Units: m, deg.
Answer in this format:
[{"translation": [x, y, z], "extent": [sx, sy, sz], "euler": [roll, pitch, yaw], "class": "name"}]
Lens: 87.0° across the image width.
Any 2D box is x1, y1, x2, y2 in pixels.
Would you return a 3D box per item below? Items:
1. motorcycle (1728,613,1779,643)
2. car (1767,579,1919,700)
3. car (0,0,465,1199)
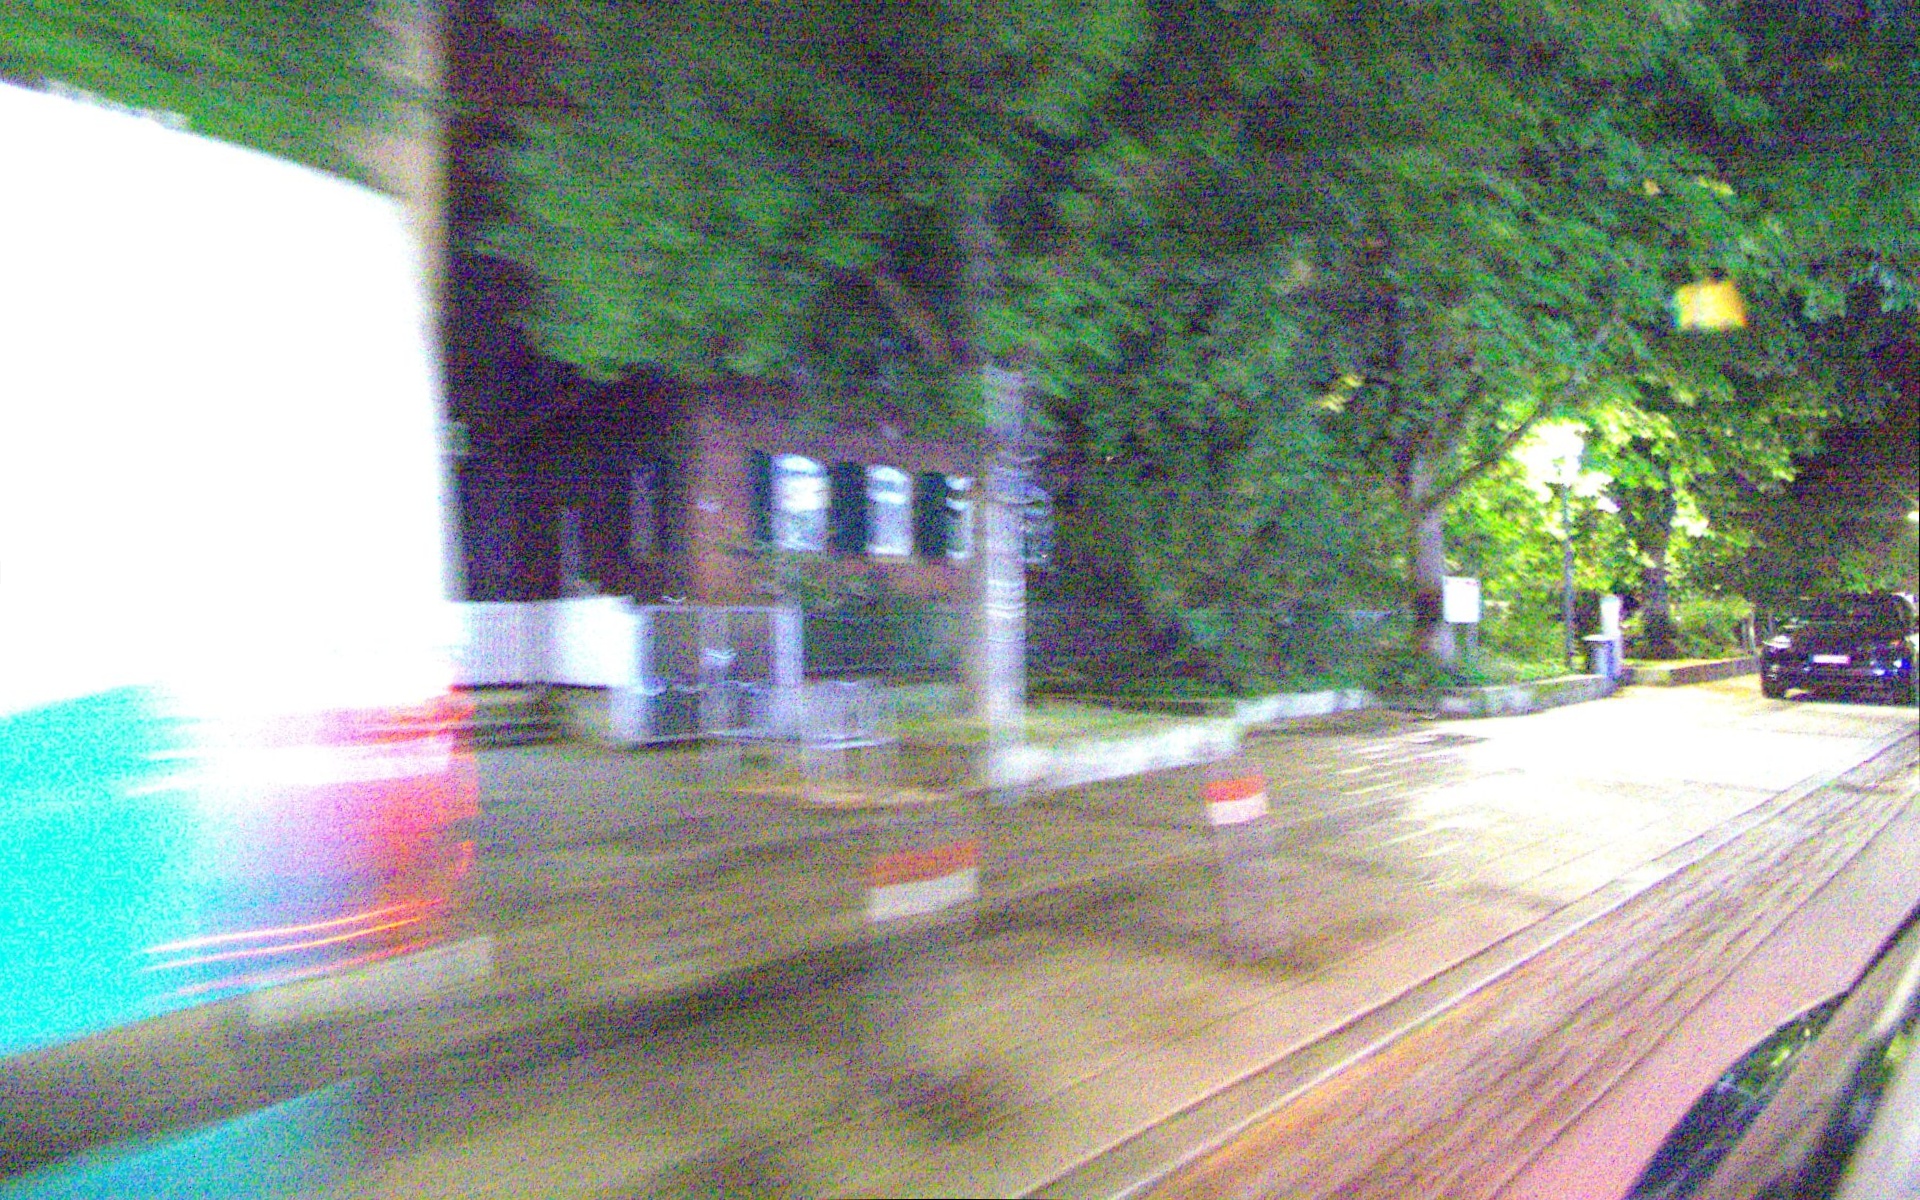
[{"translation": [34.735, 1.226, 44.313], "extent": [1.718, 1.267, 0.426], "euler": [-2, -2, 42], "class": "motorcycle"}, {"translation": [15.787, 0.627, 17.609], "extent": [4.851, 1.826, 1.910], "euler": [0, -2, -42], "class": "car"}, {"translation": [-3.499, 0.265, 0.976], "extent": [5.063, 2.356, 2.137], "euler": [0, -2, -42], "class": "car"}]
